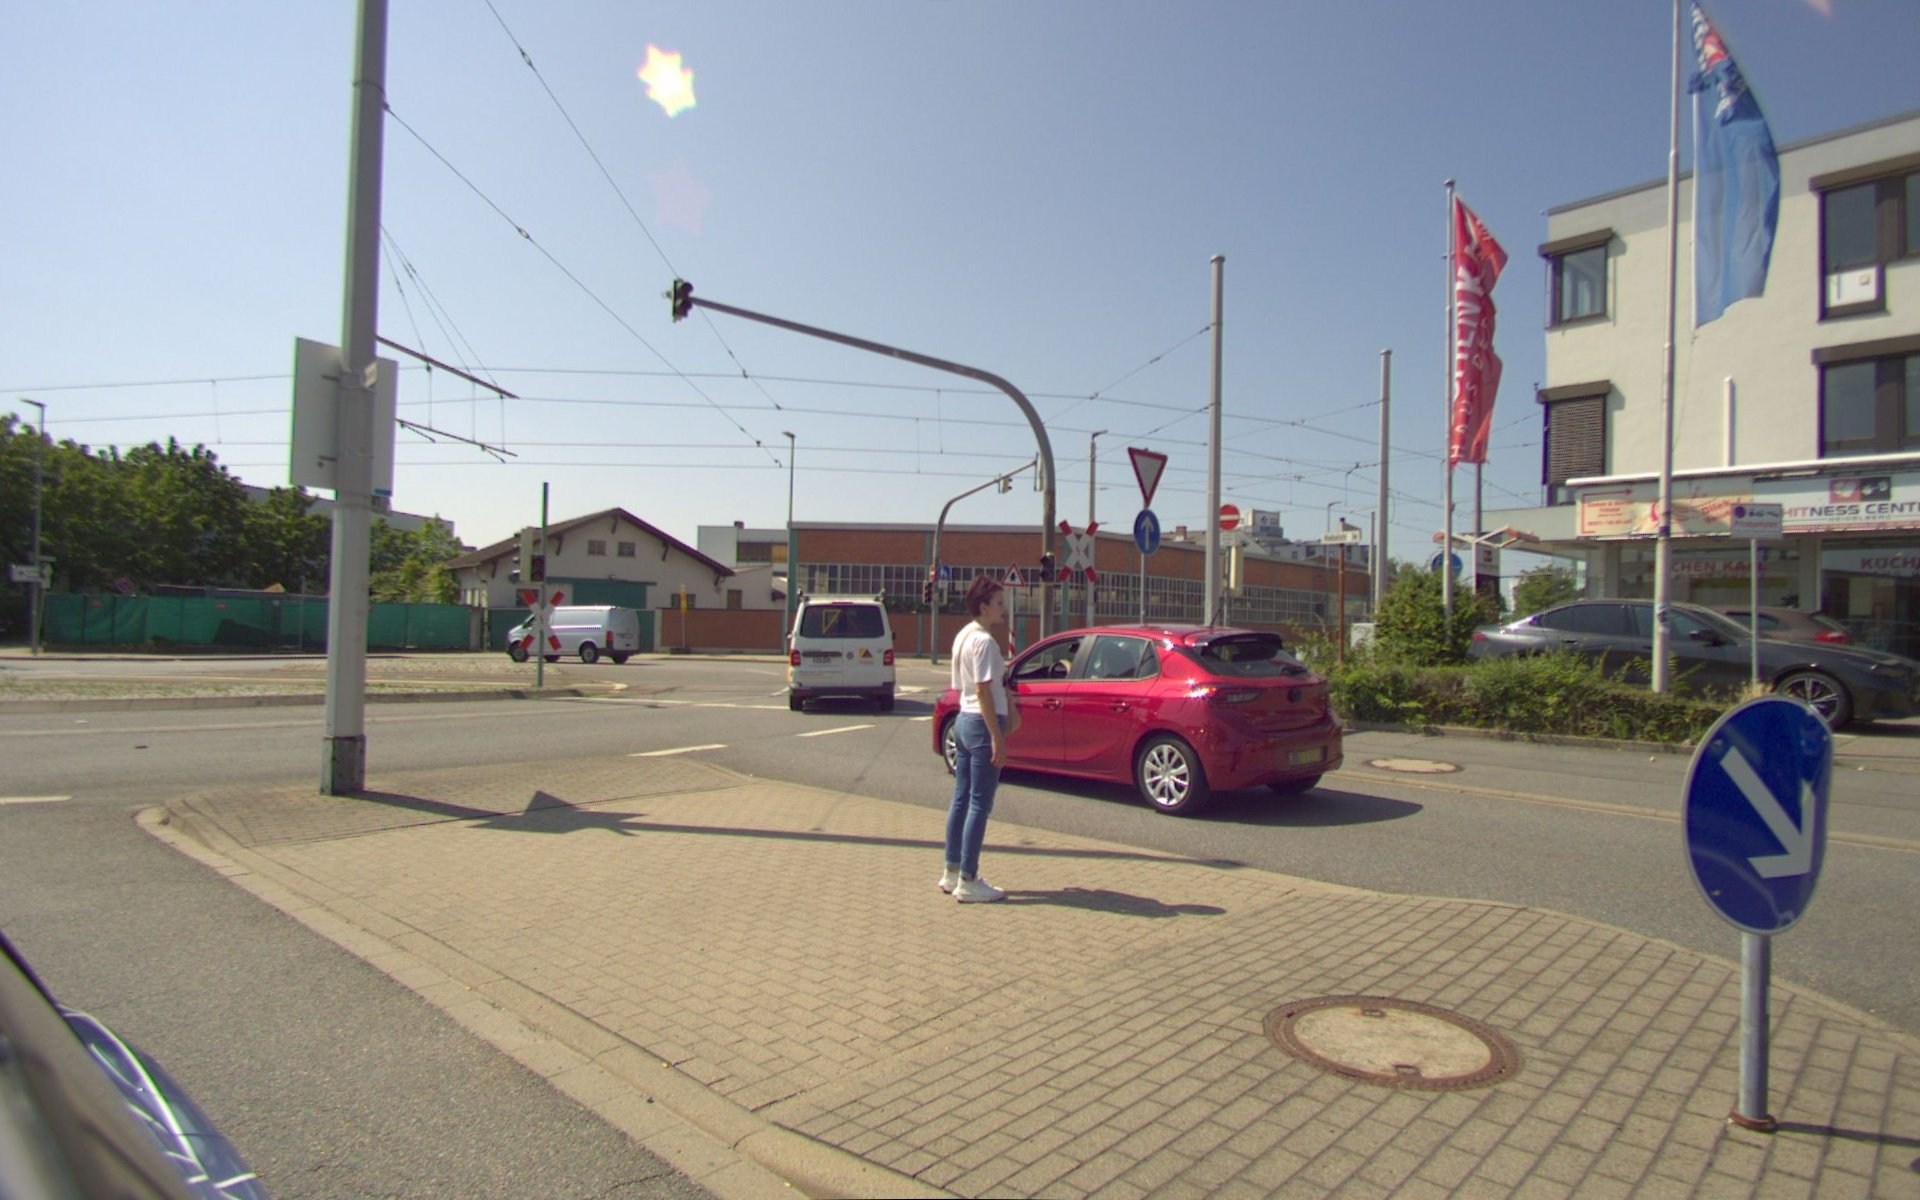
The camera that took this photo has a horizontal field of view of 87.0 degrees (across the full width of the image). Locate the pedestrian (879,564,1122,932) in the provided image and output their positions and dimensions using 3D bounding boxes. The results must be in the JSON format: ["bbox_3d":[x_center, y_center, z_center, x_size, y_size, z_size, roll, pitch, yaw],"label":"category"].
[{"bbox_3d":[0.204,0.708,5.295,0.980,1.698,0.802,2,-3,-31],"label":"pedestrian"}]

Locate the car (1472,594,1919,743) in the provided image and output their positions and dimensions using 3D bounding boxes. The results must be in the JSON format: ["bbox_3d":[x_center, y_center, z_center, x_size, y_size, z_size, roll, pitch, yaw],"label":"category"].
[{"bbox_3d":[9.550,0.817,13.137,1.883,1.585,4.827,2,-3,-39],"label":"car"}]

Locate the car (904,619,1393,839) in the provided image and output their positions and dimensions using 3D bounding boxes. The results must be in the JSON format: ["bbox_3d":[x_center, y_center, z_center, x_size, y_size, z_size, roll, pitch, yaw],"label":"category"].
[{"bbox_3d":[1.393,0.960,8.926,1.740,1.465,4.117,2,-3,-38],"label":"car"}]

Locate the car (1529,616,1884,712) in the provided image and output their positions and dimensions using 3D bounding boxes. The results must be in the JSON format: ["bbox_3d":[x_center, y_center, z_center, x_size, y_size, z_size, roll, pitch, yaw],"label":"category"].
[{"bbox_3d":[12.434,1.015,17.135,1.883,1.399,4.493,2,-3,-39],"label":"car"}]

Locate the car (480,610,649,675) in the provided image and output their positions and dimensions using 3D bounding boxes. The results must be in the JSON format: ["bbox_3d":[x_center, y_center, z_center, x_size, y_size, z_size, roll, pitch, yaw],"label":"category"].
[{"bbox_3d":[-13.909,1.467,35.598,5.493,2.149,2.197,0,-3,21],"label":"car"}]

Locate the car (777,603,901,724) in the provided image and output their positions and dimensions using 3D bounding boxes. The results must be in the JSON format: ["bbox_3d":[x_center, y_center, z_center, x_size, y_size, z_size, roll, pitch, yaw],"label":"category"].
[{"bbox_3d":[-2.245,1.123,18.691,1.966,1.962,4.443,1,-2,-7],"label":"car"}]
